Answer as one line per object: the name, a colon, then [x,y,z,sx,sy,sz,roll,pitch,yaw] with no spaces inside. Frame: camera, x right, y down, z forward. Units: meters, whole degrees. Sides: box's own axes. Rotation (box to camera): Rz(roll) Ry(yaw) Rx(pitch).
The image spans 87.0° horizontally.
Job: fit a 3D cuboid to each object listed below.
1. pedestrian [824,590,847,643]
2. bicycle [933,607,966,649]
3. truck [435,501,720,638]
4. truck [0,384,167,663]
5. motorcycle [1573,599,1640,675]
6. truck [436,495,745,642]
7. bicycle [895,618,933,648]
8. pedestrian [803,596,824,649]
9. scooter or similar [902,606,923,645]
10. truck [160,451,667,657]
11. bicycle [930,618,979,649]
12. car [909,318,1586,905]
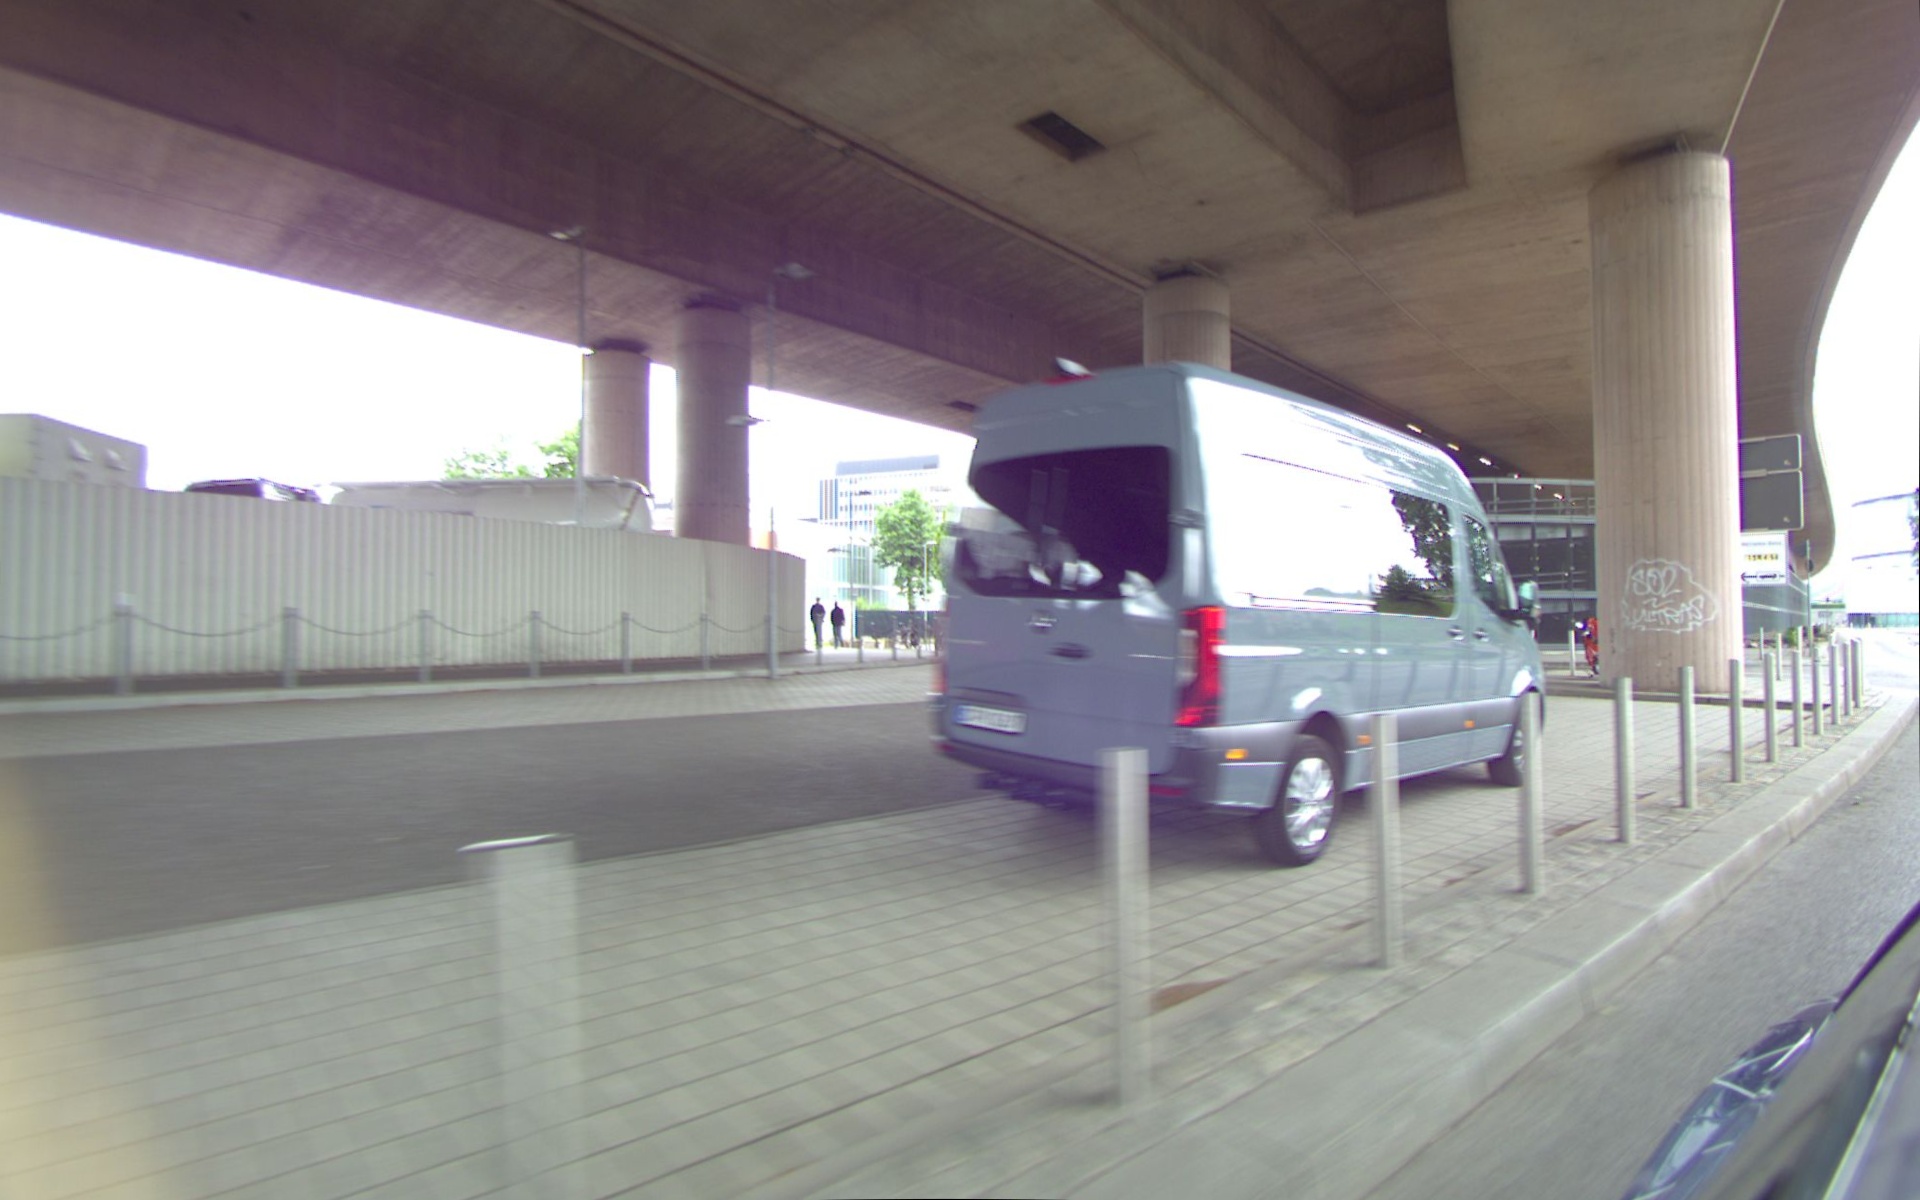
pedestrian: [-4.431,0.591,36.086,0.681,1.850,0.507,1,-2,-26]
bicycle: [-0.327,0.853,30.021,0.608,1.120,2.331,3,-4,-9]
truck: [-12.676,-0.952,34.320,8.589,4.291,2.915,1,0,-8]
truck: [-18.922,-1.218,16.204,9.729,4.212,2.817,1,-1,-6]
motorcycle: [12.424,0.693,19.507,0.790,1.384,2.111,1,-1,25]
truck: [-11.183,-0.888,31.521,8.589,4.211,2.915,1,0,-8]
bicycle: [-1.645,1.174,36.044,0.429,1.037,1.733,2,-3,-38]
pedestrian: [-5.236,0.805,36.129,0.631,1.850,0.507,1,-2,-24]
scooter or similar: [-1.598,0.864,33.794,0.533,1.234,1.681,3,-4,-6]
truck: [-12.374,-0.972,23.846,10.091,4.358,3.016,1,0,-5]
bicycle: [-0.200,1.137,34.292,0.389,1.037,2.058,3,-3,-42]
car: [2.547,0.081,7.364,5.972,2.646,1.995,1,-1,-44]
